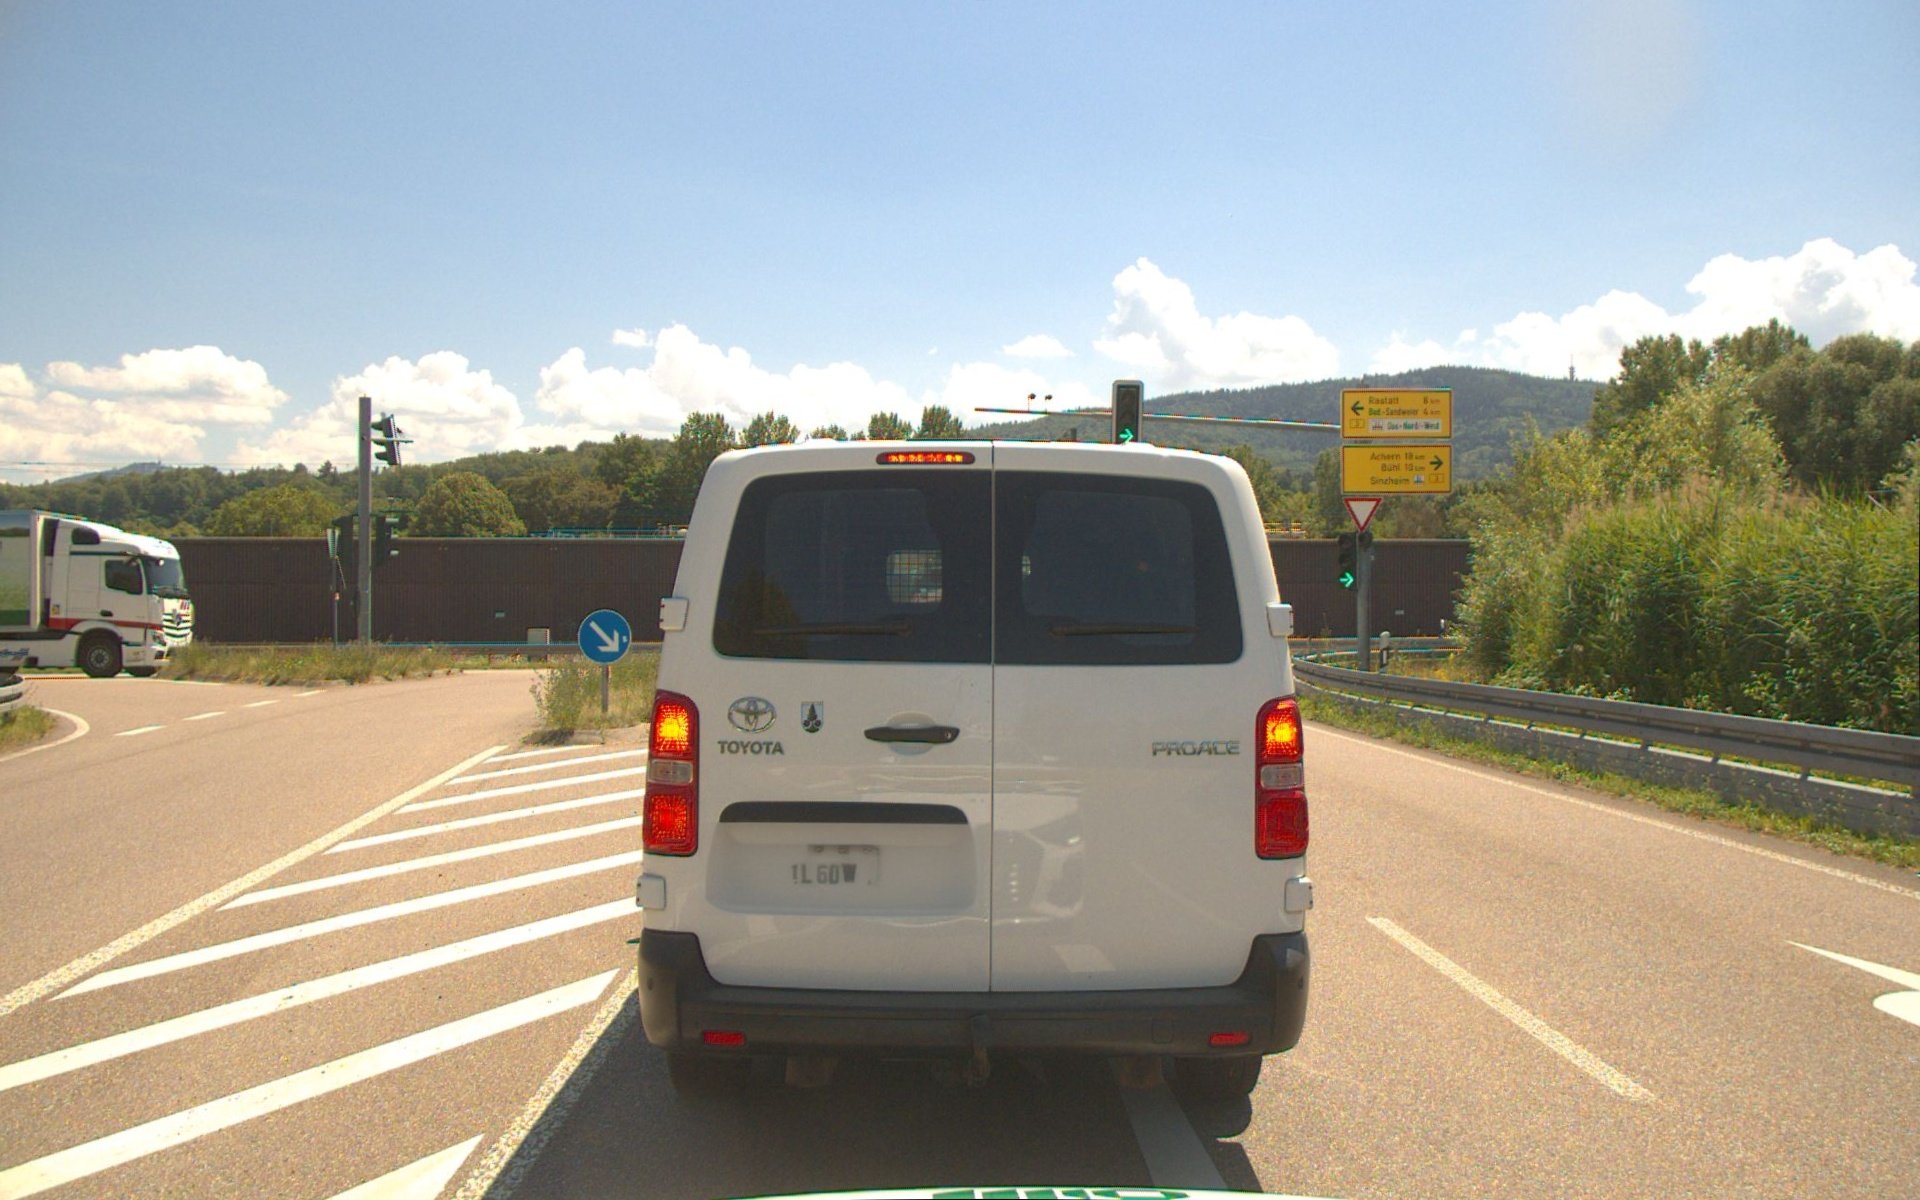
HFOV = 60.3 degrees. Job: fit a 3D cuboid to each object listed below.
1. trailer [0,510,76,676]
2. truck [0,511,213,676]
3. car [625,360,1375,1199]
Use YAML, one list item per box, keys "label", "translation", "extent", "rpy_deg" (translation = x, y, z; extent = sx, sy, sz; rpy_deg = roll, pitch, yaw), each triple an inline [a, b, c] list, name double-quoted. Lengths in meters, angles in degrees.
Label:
- label: "trailer"
  translation: [-29.531, -0.184, 41.456]
  extent: [12.877, 4.024, 3.060]
  rpy_deg: [0, -1, -3]
- label: "truck"
  translation: [-22.402, -0.146, 41.795]
  extent: [5.649, 4.024, 3.061]
  rpy_deg: [0, -1, -3]
- label: "car"
  translation: [0.070, 0.470, 5.938]
  extent: [1.778, 2.053, 3.999]
  rpy_deg: [0, 0, -1]
